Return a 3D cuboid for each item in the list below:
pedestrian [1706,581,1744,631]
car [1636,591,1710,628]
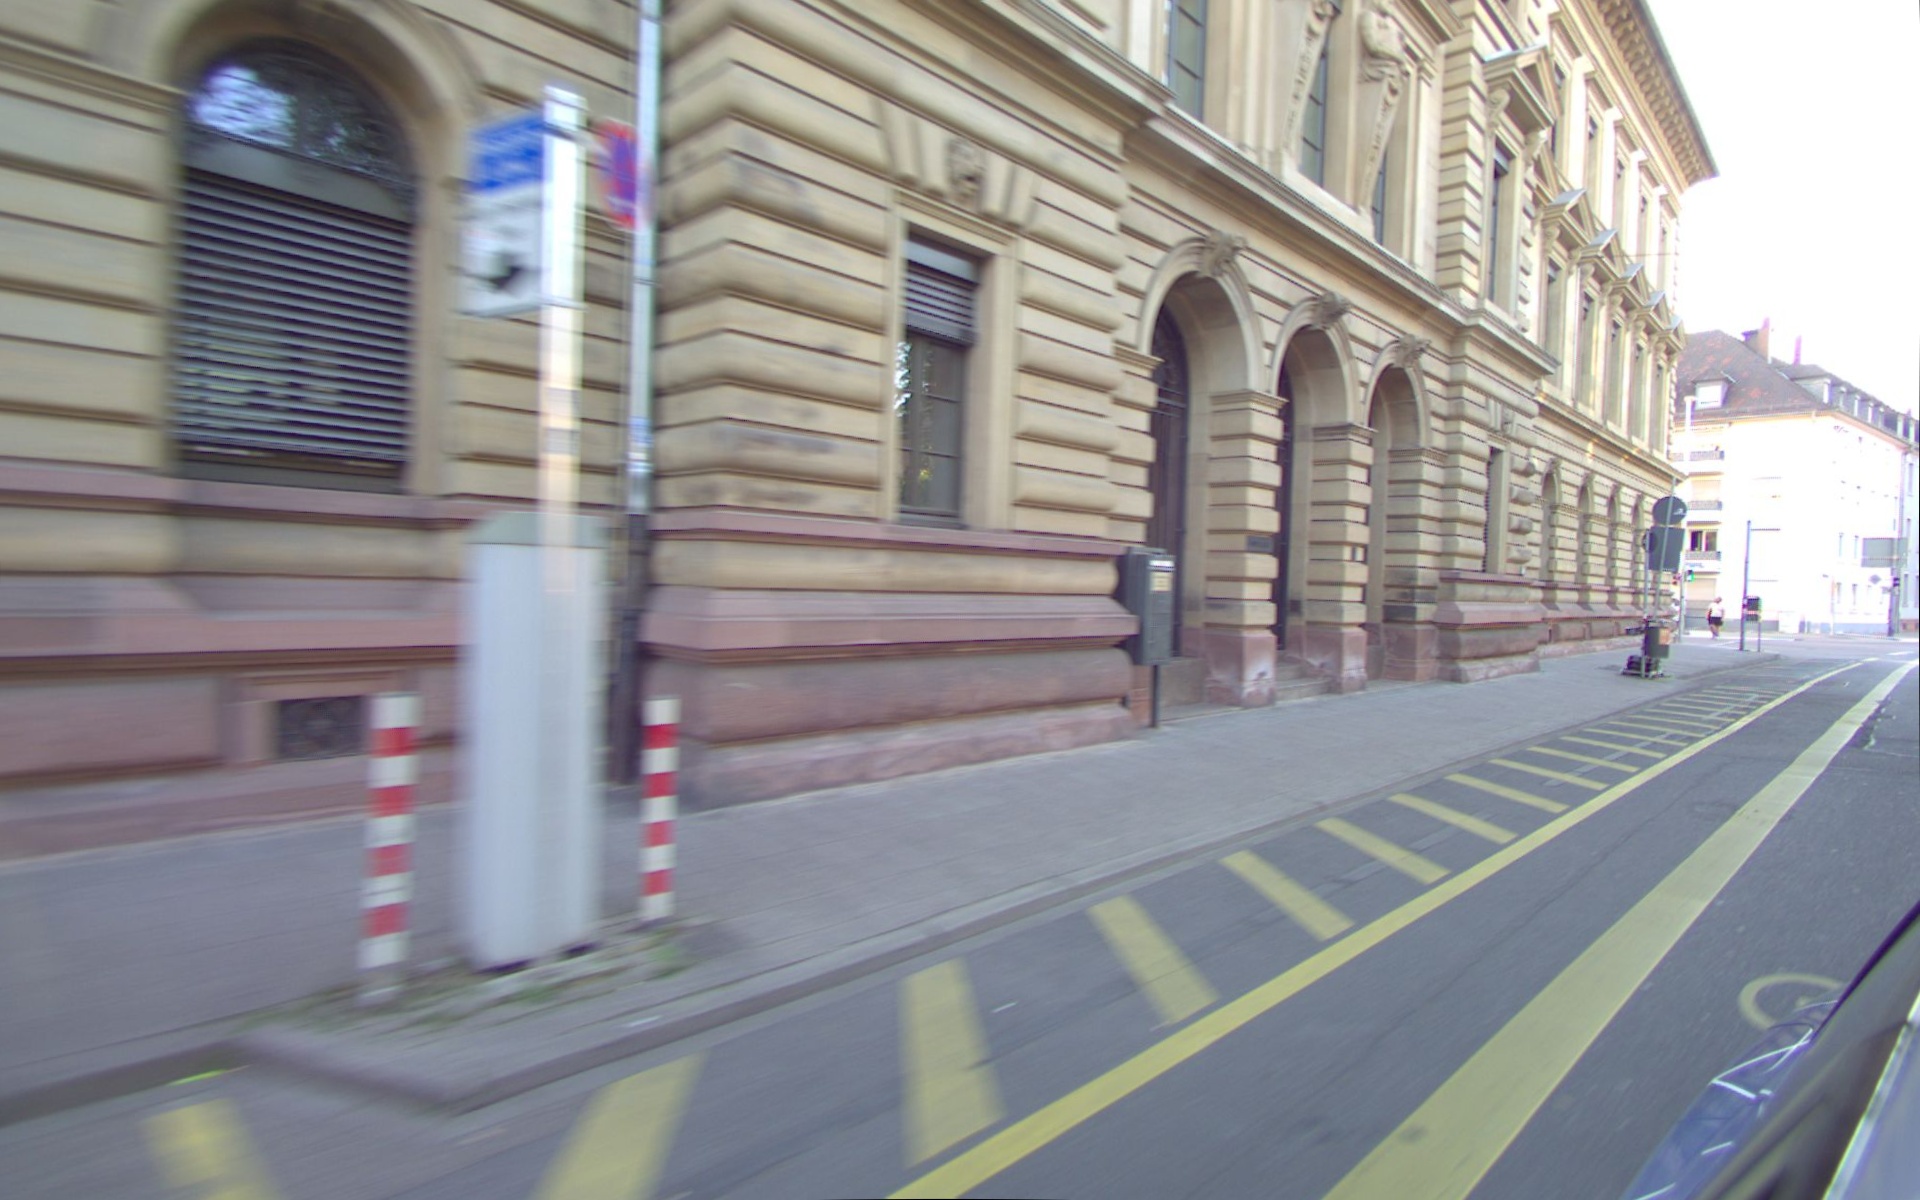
[{"bbox_3d":[31.442,0.237,41.597,0.973,2.039,0.789,1,0,-21],"label":"pedestrian"},{"bbox_3d":[36.707,0.479,52.067,4.395,1.771,1.998,1,1,-40],"label":"car"}]
